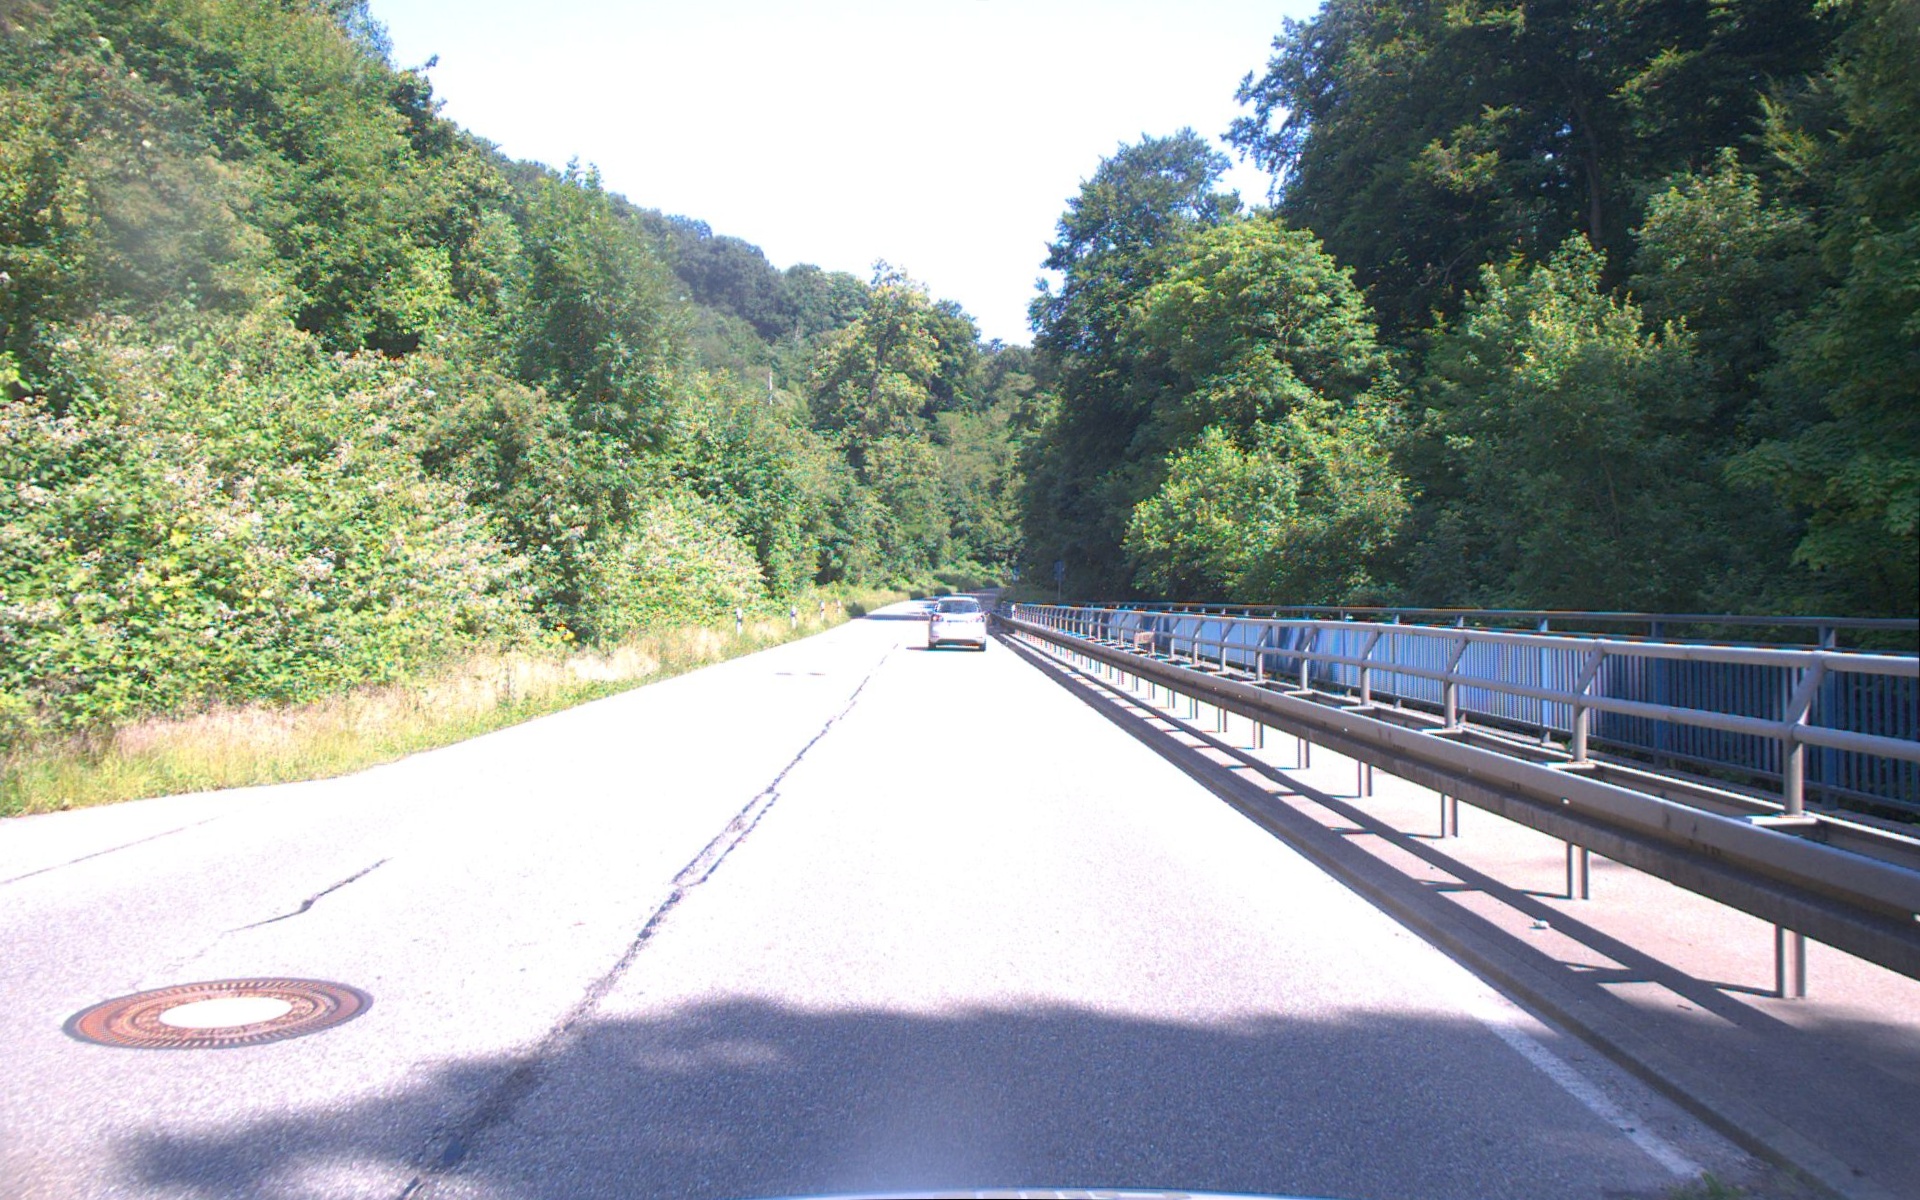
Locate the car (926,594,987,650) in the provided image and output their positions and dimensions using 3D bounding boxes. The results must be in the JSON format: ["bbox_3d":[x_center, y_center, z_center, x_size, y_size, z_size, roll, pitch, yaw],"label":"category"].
[{"bbox_3d":[-0.127,0.644,49.462,1.716,1.546,4.158,2,0,-1],"label":"car"}]
